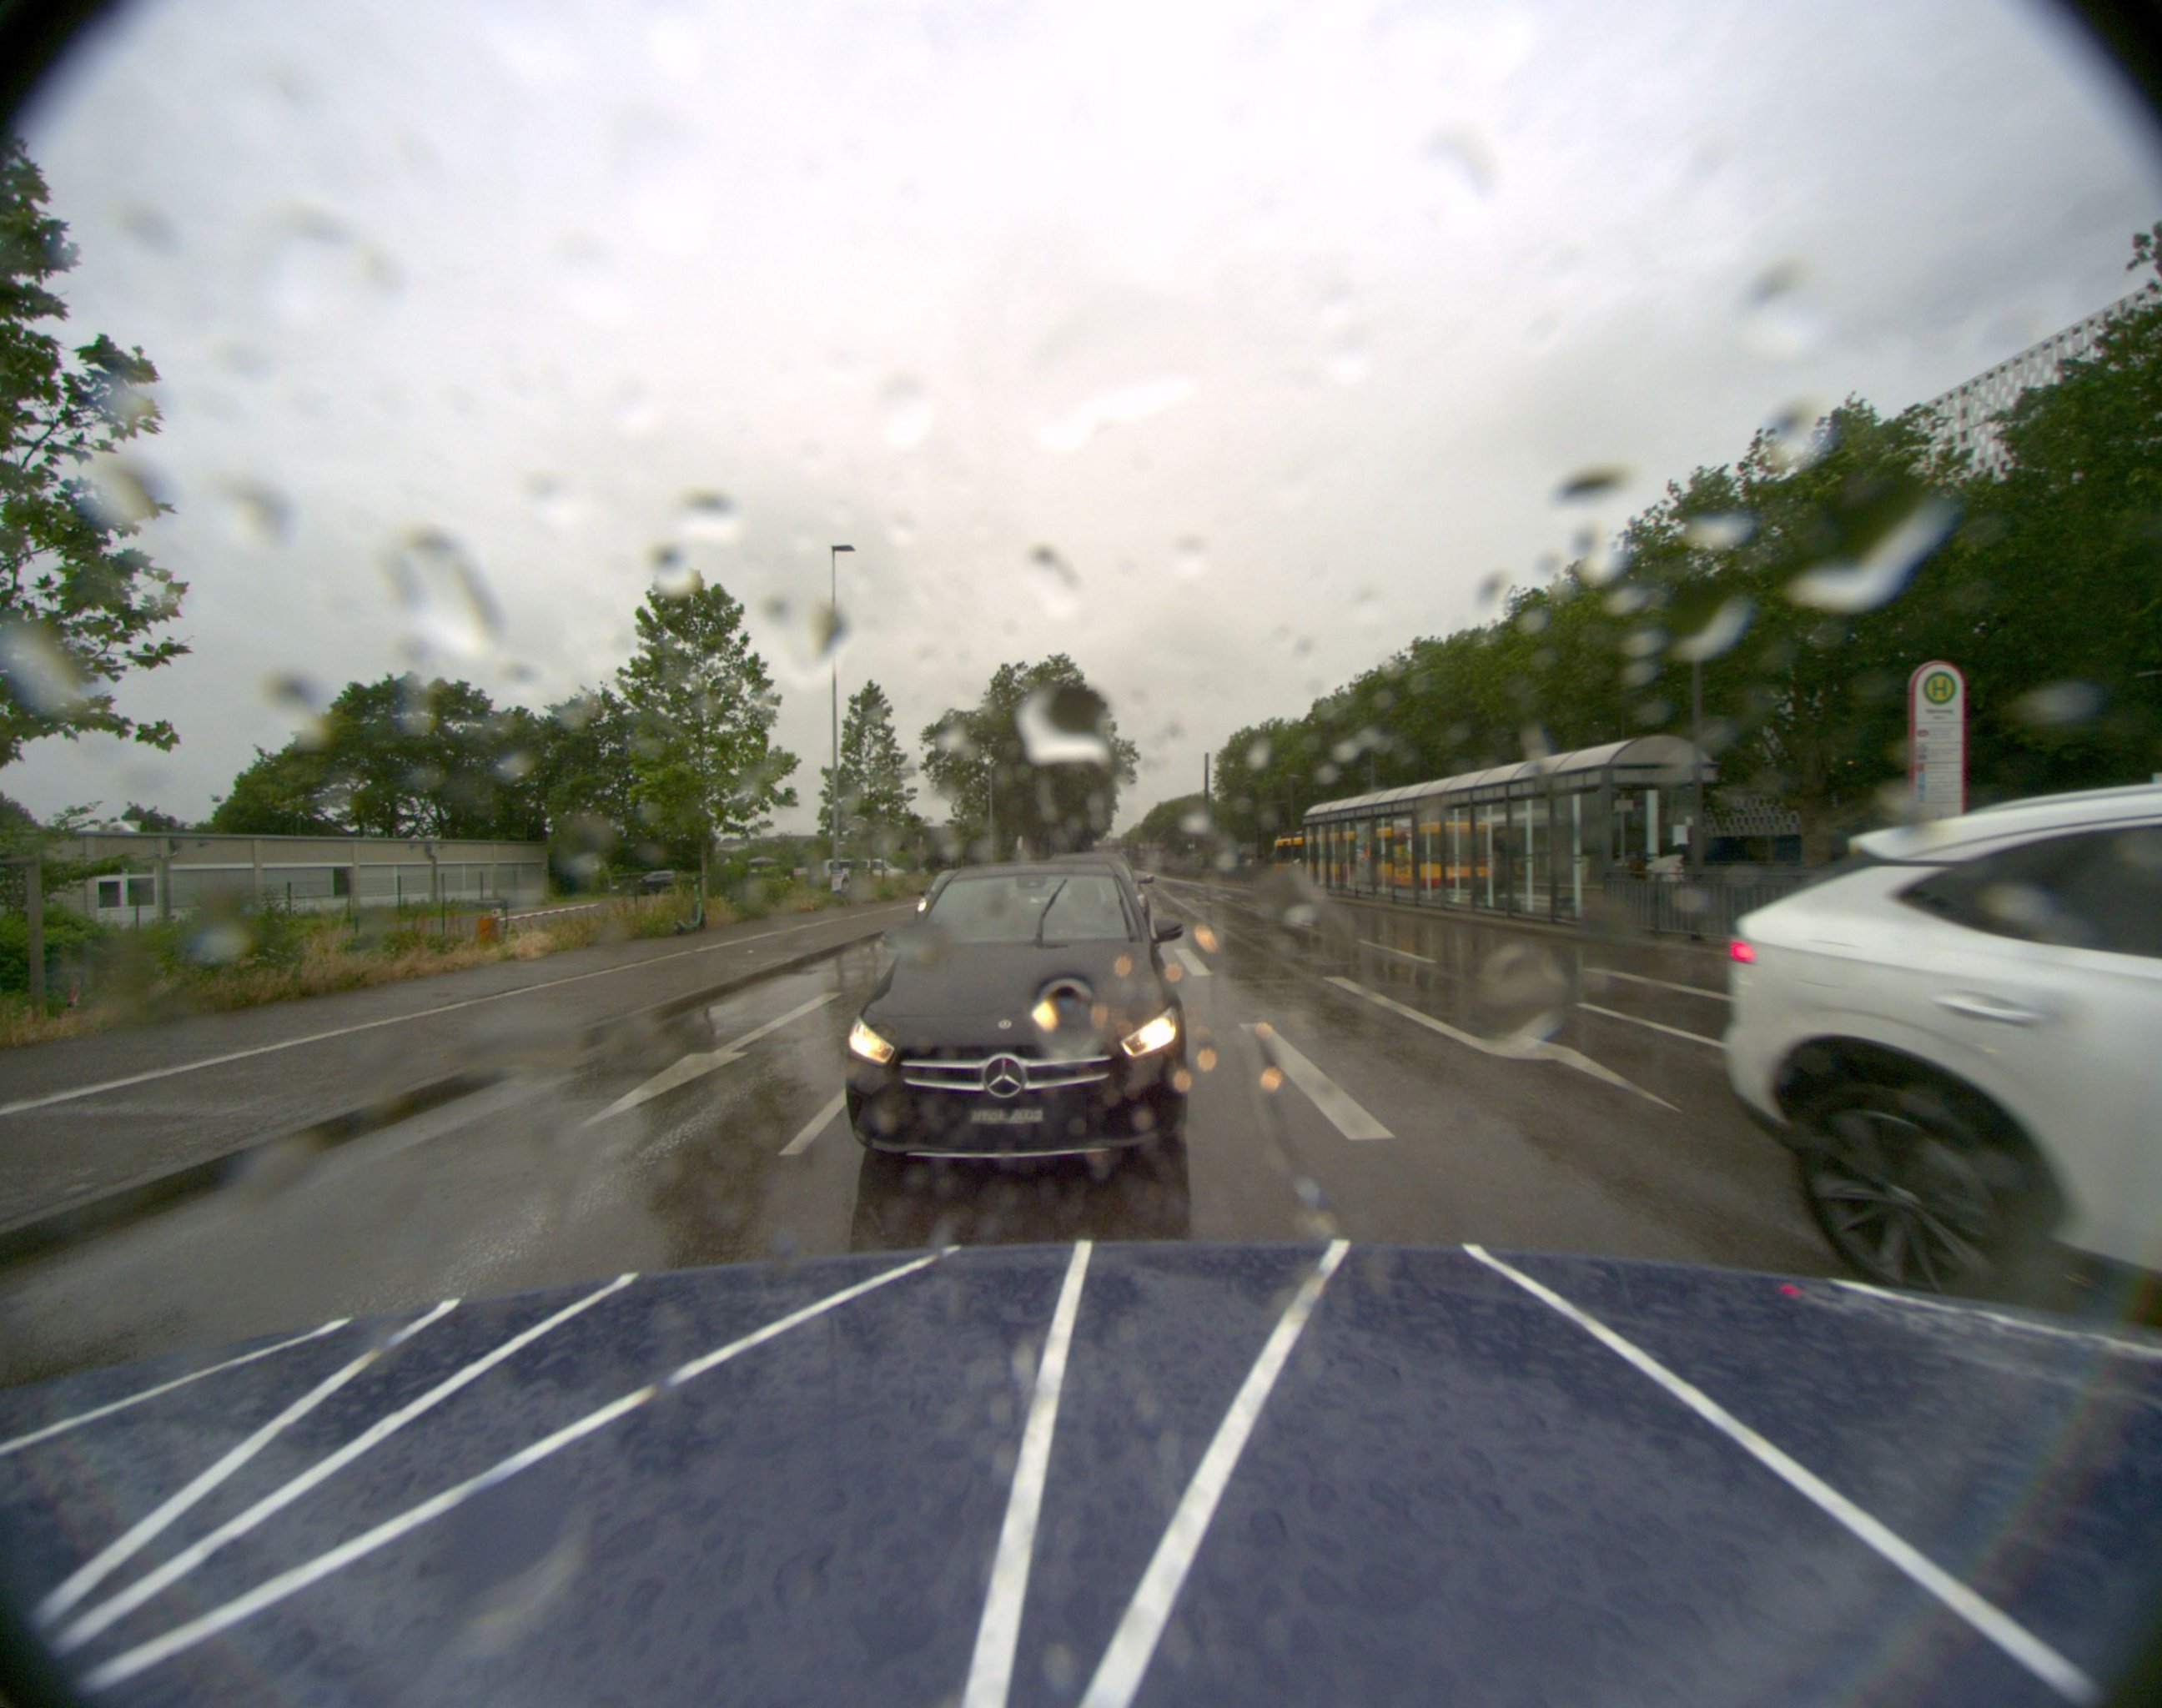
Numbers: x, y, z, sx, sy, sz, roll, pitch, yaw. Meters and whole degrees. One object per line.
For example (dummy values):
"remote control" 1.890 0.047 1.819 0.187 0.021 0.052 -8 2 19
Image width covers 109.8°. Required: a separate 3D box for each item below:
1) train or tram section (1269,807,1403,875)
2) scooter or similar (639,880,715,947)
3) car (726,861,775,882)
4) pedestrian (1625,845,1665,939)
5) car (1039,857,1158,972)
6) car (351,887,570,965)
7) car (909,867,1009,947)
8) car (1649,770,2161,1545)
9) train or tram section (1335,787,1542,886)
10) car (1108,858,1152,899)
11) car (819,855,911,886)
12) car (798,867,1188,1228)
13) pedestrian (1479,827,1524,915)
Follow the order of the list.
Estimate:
"train or tram section" 16.643 -0.824 51.633 3.751 3.777 15.569 -3 0 0
"scooter or similar" -8.186 1.161 15.476 0.367 1.192 1.913 -2 1 4
"car" -28.227 1.510 65.012 3.552 1.574 1.345 -3 1 6
"pedestrian" 9.219 0.611 12.424 0.321 1.485 0.415 -3 2 6
"car" 0.308 0.868 12.812 1.689 1.611 4.000 -1 0 2
"car" -12.024 1.381 14.816 3.243 1.281 1.345 -3 1 6
"car" -2.633 1.104 17.136 1.557 1.500 3.618 -2 0 1
"car" 3.381 0.658 0.895 1.935 1.765 4.663 -3 0 1
"train or tram section" 16.616 -0.737 37.206 3.751 3.817 13.253 -3 0 0
"car" 2.030 0.994 32.529 1.557 1.541 3.717 -3 0 0
"car" -13.625 1.014 48.179 5.174 1.715 2.006 -3 1 -1
"car" -0.232 0.937 5.558 1.758 1.572 4.171 -2 0 5
"pedestrian" 9.206 0.359 16.663 0.655 1.860 0.773 -2 1 17
